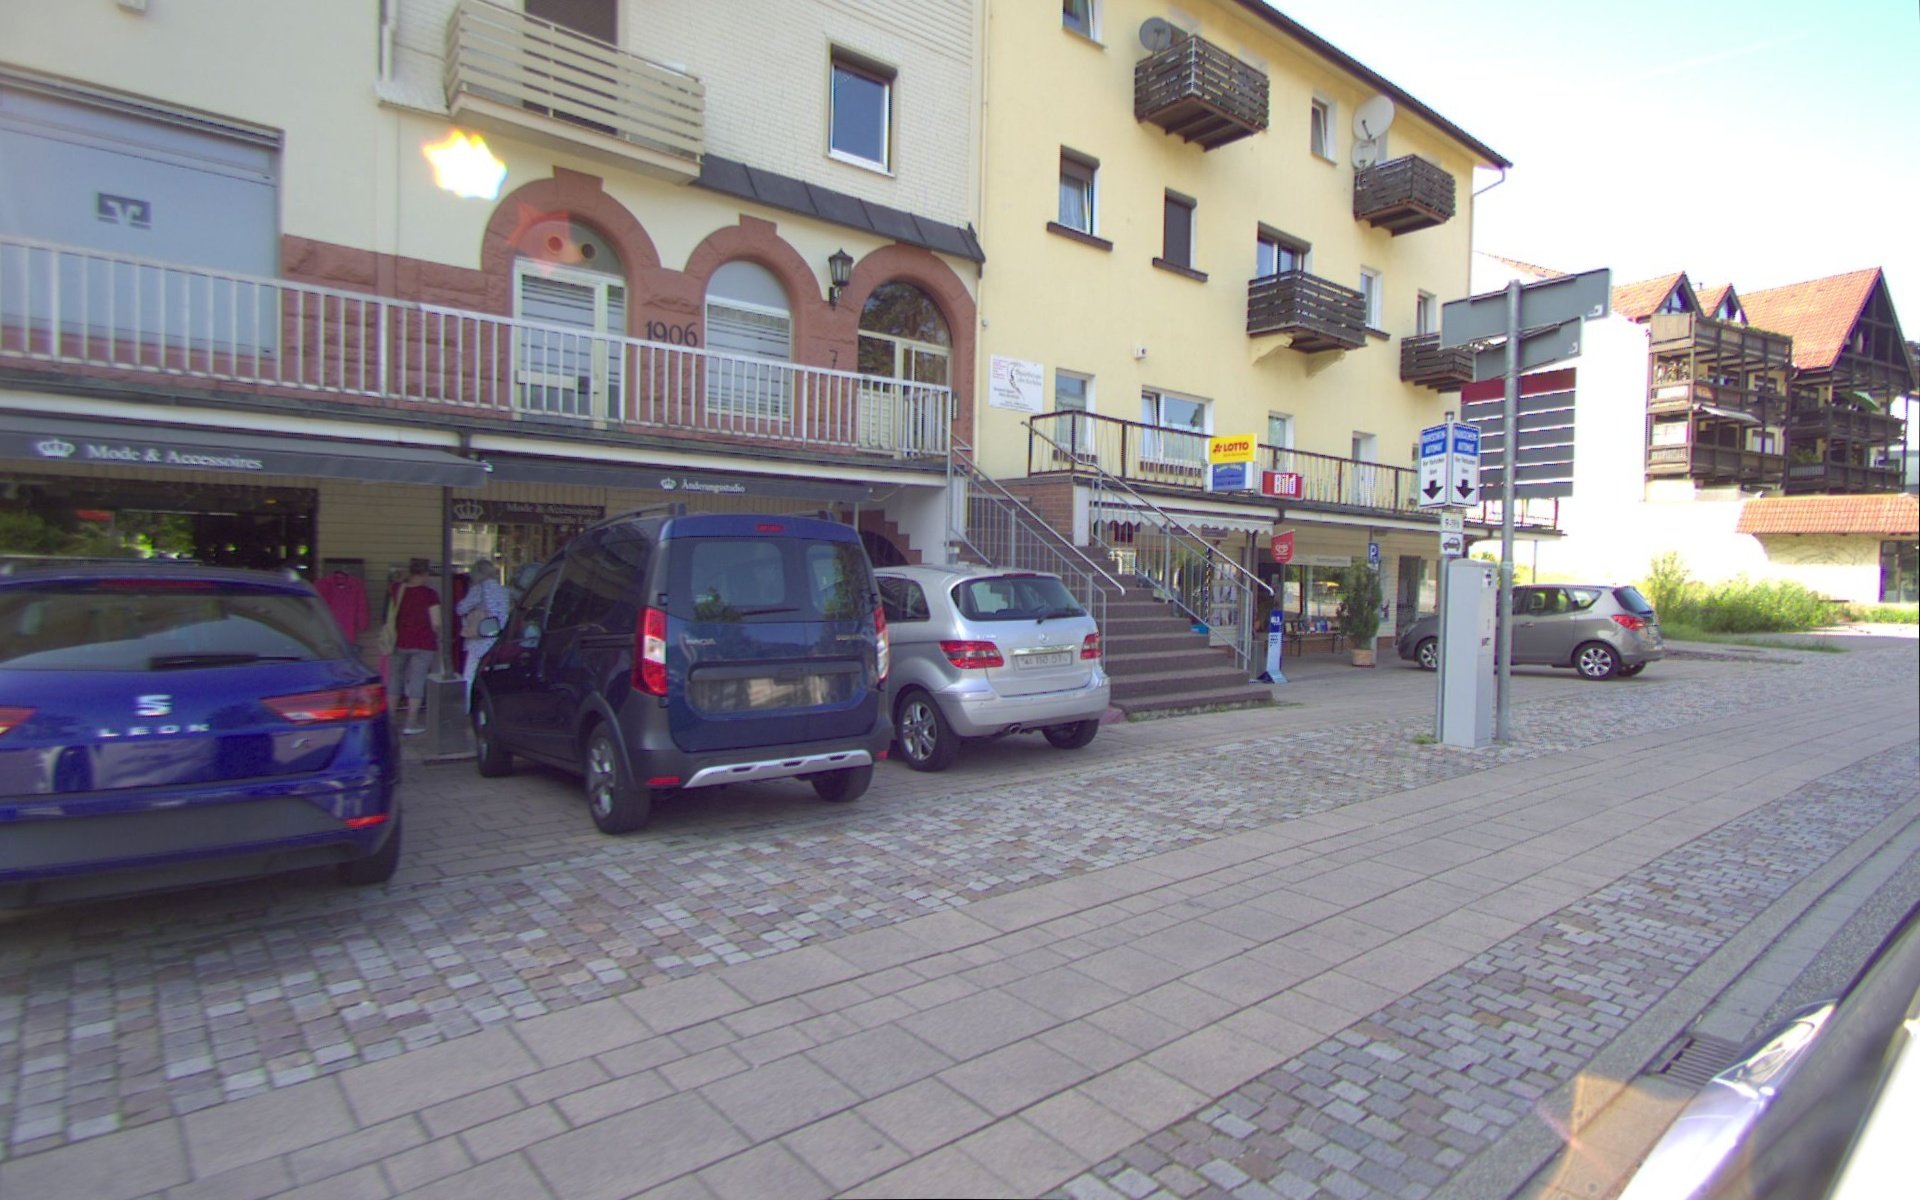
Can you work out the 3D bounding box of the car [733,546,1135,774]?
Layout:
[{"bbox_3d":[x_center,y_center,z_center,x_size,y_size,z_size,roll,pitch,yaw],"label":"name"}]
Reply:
[{"bbox_3d":[-0.446,0.440,9.244,1.742,1.609,3.920,1,-1,-37],"label":"car"}]

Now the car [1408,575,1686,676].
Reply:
[{"bbox_3d":[10.179,0.407,17.778,1.729,1.574,3.867,0,0,-39],"label":"car"}]

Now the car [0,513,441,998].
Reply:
[{"bbox_3d":[-3.812,0.507,4.893,1.704,1.479,3.920,0,-1,-37],"label":"car"}]

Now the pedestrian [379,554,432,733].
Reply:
[{"bbox_3d":[-5.381,0.405,9.812,0.426,1.678,0.413,1,3,-30],"label":"pedestrian"}]

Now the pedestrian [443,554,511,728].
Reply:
[{"bbox_3d":[-4.832,0.386,10.118,0.454,1.678,0.429,4,3,35],"label":"pedestrian"}]

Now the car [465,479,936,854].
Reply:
[{"bbox_3d":[-2.053,0.342,7.061,1.823,1.827,3.920,-1,-1,-37],"label":"car"}]
